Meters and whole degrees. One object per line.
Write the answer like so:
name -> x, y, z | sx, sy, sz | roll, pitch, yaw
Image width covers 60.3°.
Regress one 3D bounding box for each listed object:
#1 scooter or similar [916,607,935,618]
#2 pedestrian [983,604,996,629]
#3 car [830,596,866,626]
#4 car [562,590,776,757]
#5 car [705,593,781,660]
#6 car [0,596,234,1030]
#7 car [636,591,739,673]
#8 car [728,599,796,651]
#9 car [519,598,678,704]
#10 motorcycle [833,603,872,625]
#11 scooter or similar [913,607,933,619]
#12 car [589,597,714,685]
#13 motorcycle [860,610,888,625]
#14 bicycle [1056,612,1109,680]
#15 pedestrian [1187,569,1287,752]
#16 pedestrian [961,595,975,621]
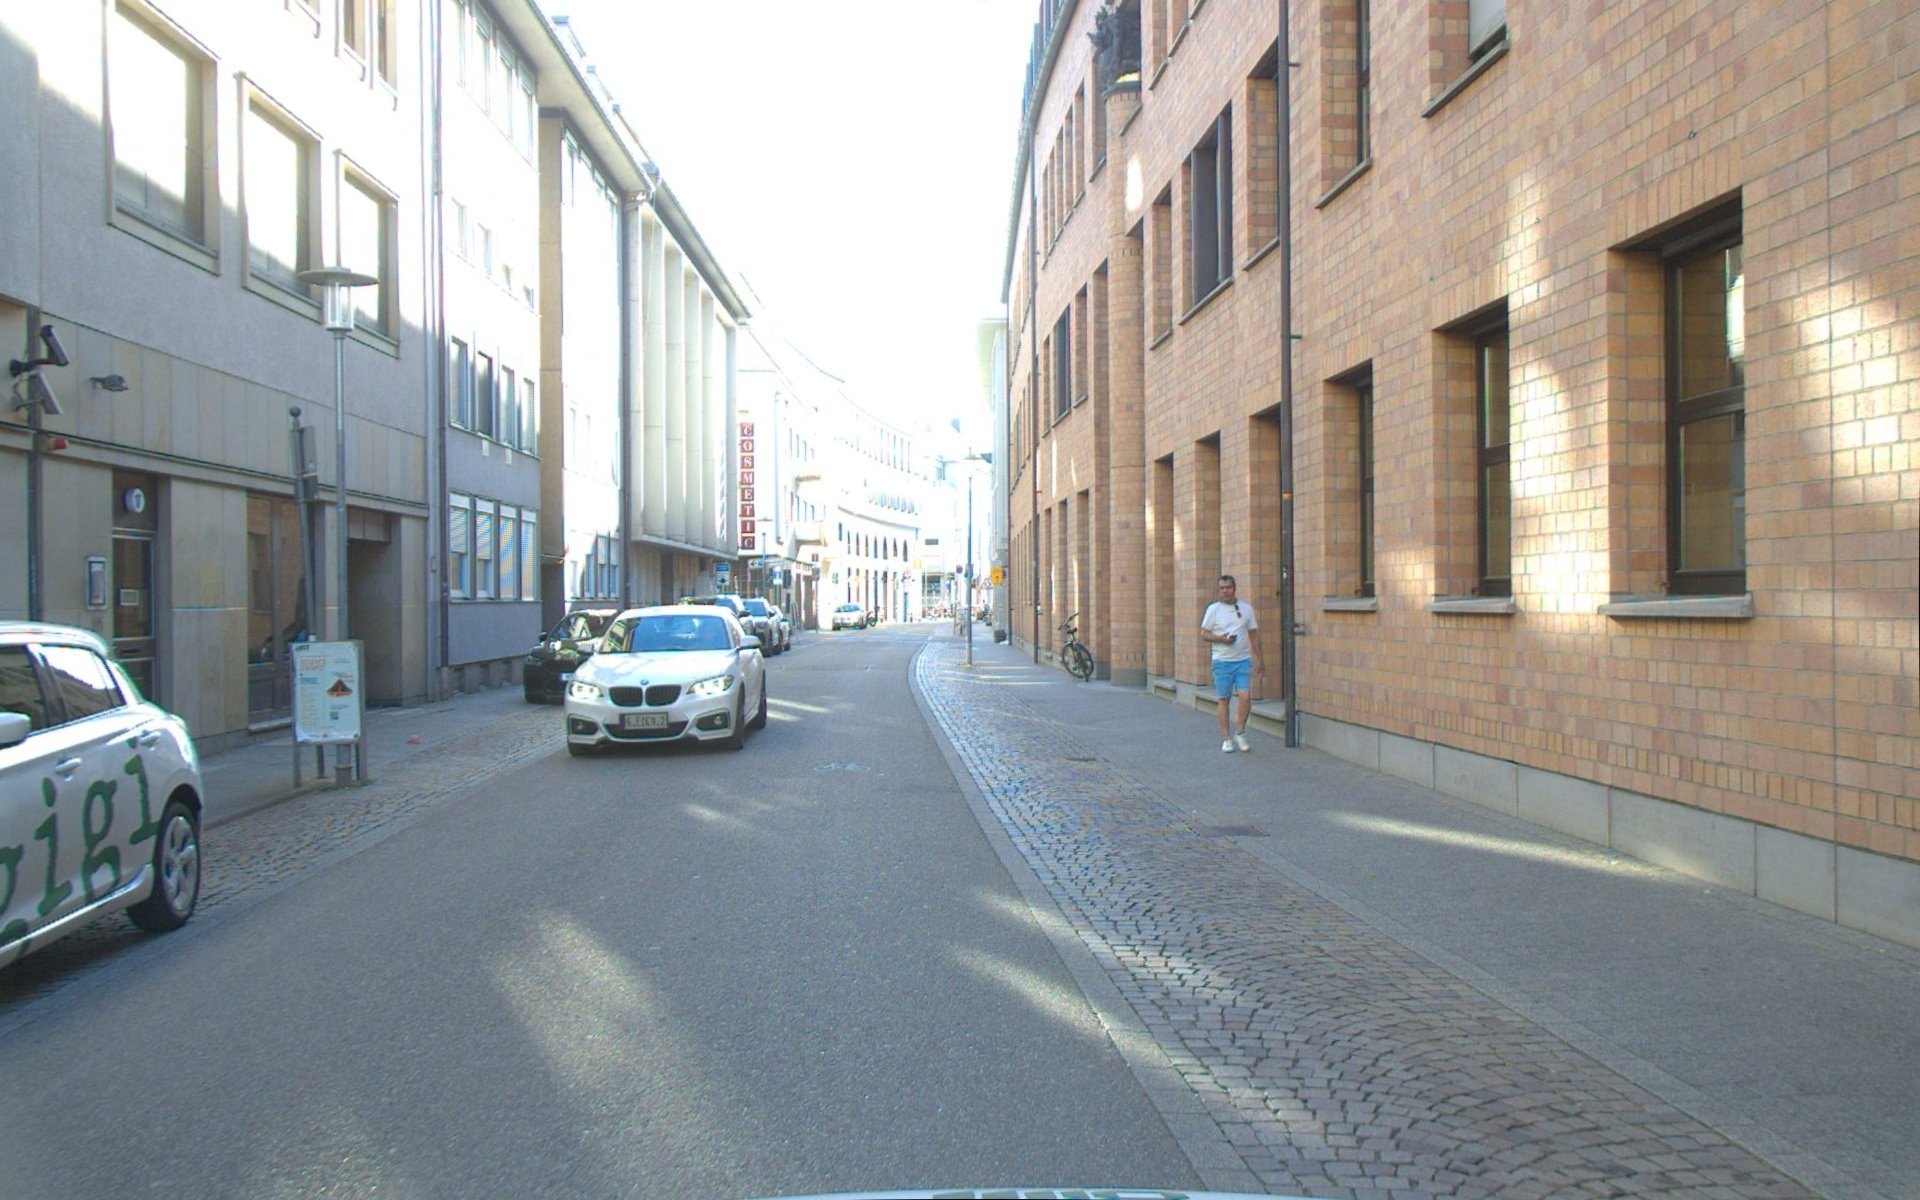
scooter or similar -> -2.913, 1.033, 138.603 | 0.515, 0.944, 2.223 | 0, 0, 29
pedestrian -> 2.219, 1.272, 126.440 | 0.652, 1.901, 0.778 | 2, -1, -30
car -> -6.248, 0.583, 92.591 | 1.701, 1.634, 3.533 | 1, 0, 0
car -> -2.970, 0.686, 17.666 | 1.680, 1.544, 4.158 | -1, 0, -2
car -> -6.102, 0.705, 46.952 | 1.853, 1.772, 4.387 | -1, 0, -4
car -> -4.329, 0.798, 6.417 | 1.638, 1.548, 3.770 | -3, 0, -6
car -> -6.121, 0.674, 37.615 | 1.852, 1.705, 4.550 | -1, 0, -4
car -> -6.217, 0.755, 52.174 | 1.615, 1.486, 3.998 | -3, 0, 0
car -> -5.853, 0.770, 27.308 | 1.852, 1.557, 4.725 | -1, 0, -4
motorcycle -> -6.727, 0.866, 103.502 | 2.342, 1.340, 0.862 | -2, 0, -1
scooter or similar -> -3.011, 1.077, 134.779 | 0.515, 0.944, 2.223 | 0, 0, 29
car -> -5.898, 0.740, 32.089 | 1.852, 1.557, 4.336 | -1, 0, -4
motorcycle -> -5.208, 1.049, 100.299 | 1.655, 0.874, 0.595 | 1, -1, 4
bicycle -> 2.168, 0.797, 29.561 | 0.539, 1.122, 1.979 | -4, 0, -6
pedestrian -> 2.752, 0.586, 16.479 | 0.745, 1.746, 0.821 | -2, 0, -4
pedestrian -> 0.593, 0.583, 121.209 | 0.652, 1.901, 0.753 | 2, -1, -30
